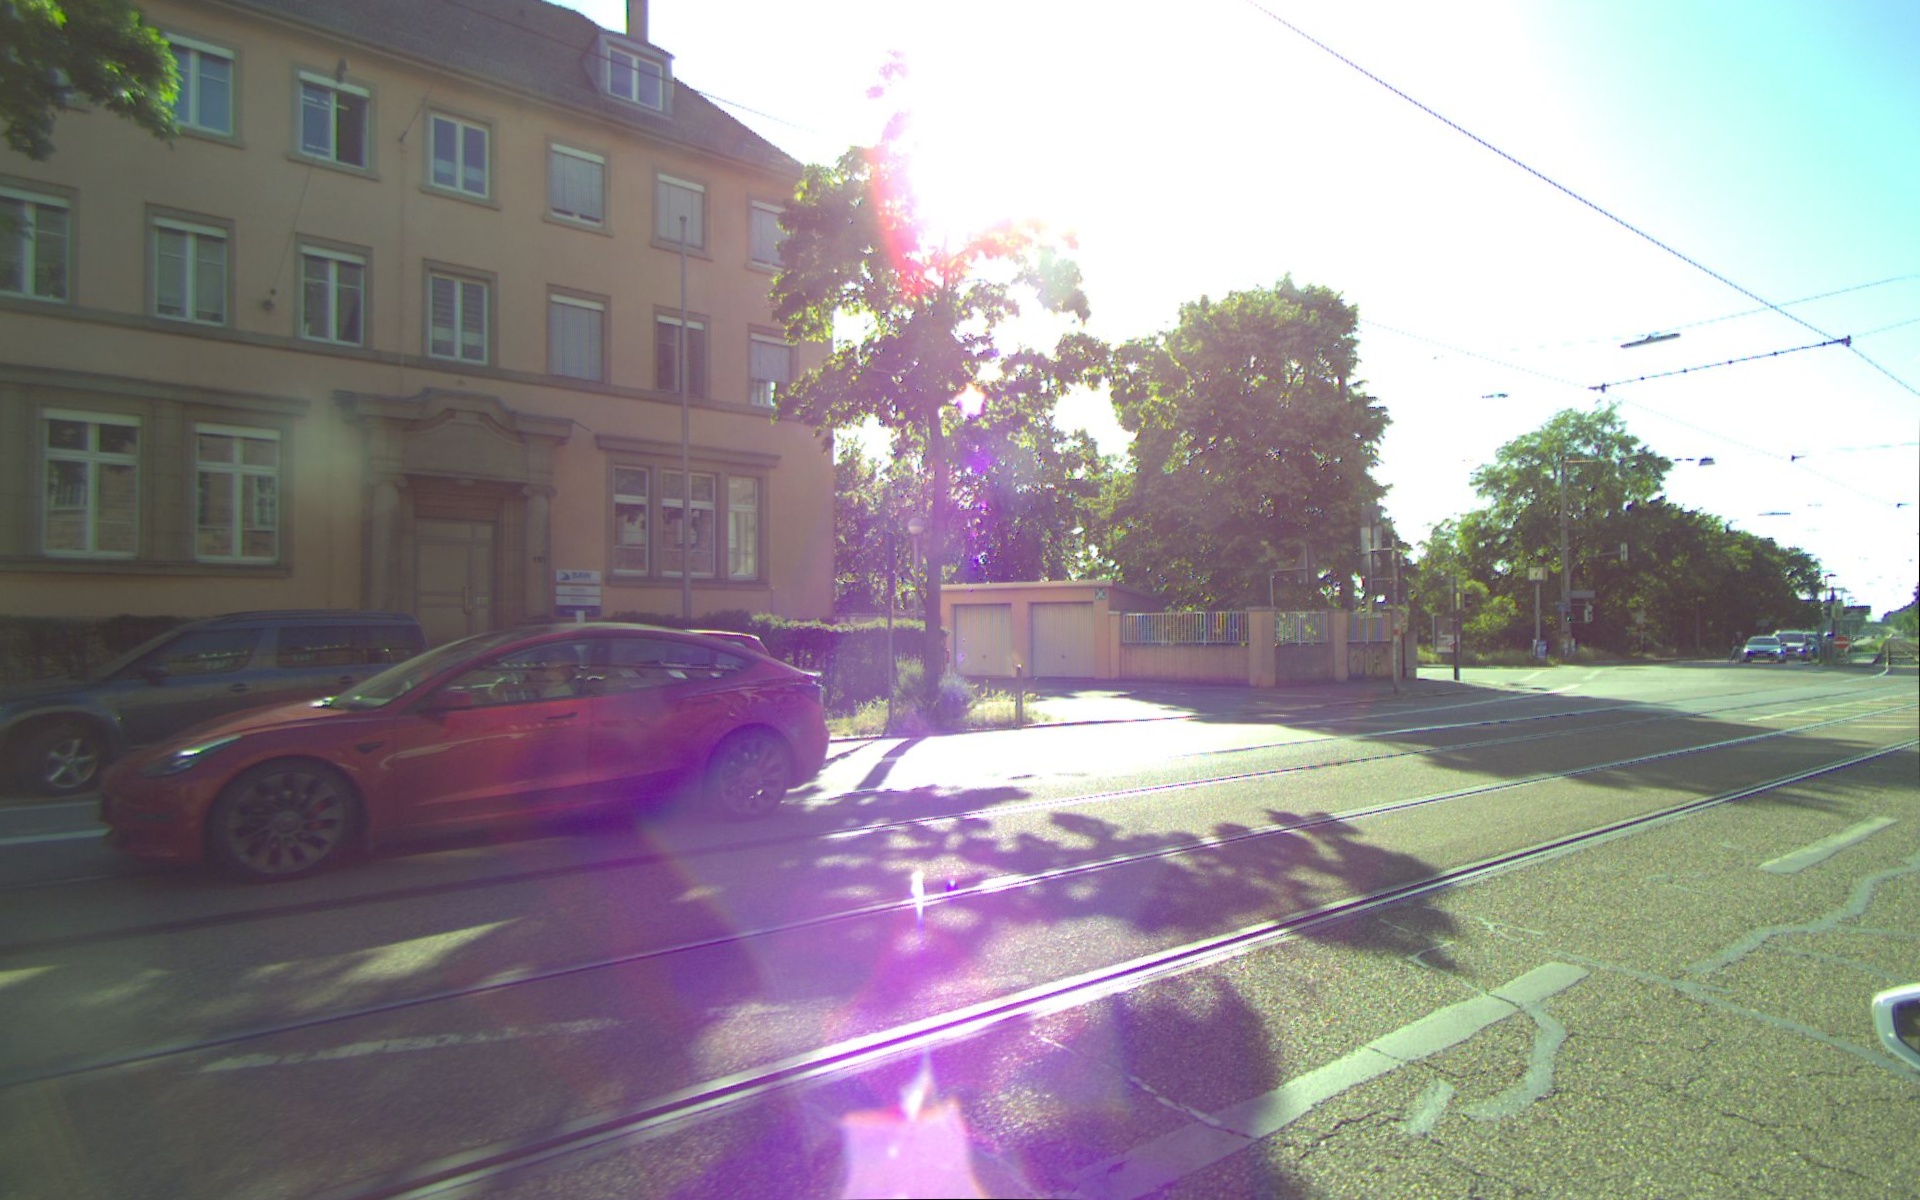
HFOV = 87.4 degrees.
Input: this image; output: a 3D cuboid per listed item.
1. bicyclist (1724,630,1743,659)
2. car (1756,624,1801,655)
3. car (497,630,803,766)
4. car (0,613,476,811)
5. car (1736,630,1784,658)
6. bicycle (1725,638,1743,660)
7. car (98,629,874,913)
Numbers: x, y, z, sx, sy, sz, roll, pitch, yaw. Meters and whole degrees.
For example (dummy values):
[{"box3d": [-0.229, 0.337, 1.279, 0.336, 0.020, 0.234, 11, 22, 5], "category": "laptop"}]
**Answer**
[{"box3d": [41.153, 2.376, 53.421, 0.740, 1.524, 0.960, -2, -3, 38], "category": "bicyclist"}, {"box3d": [48.715, 2.337, 59.802, 1.970, 1.783, 3.982, -2, -3, 39], "category": "car"}, {"box3d": [-4.033, 1.183, 13.376, 3.585, 1.508, 1.567, 1, 0, -42], "category": "car"}, {"box3d": [-7.605, 0.997, 10.430, 4.357, 1.682, 1.730, 1, 0, -42], "category": "car"}, {"box3d": [44.100, 2.408, 55.338, 1.970, 1.524, 3.982, -2, -3, 39], "category": "car"}, {"box3d": [41.191, 2.598, 53.456, 0.740, 1.101, 2.168, -2, -3, 38], "category": "bicycle"}, {"box3d": [-3.077, 0.935, 7.237, 4.646, 1.405, 1.906, 1, -3, -39], "category": "car"}]
